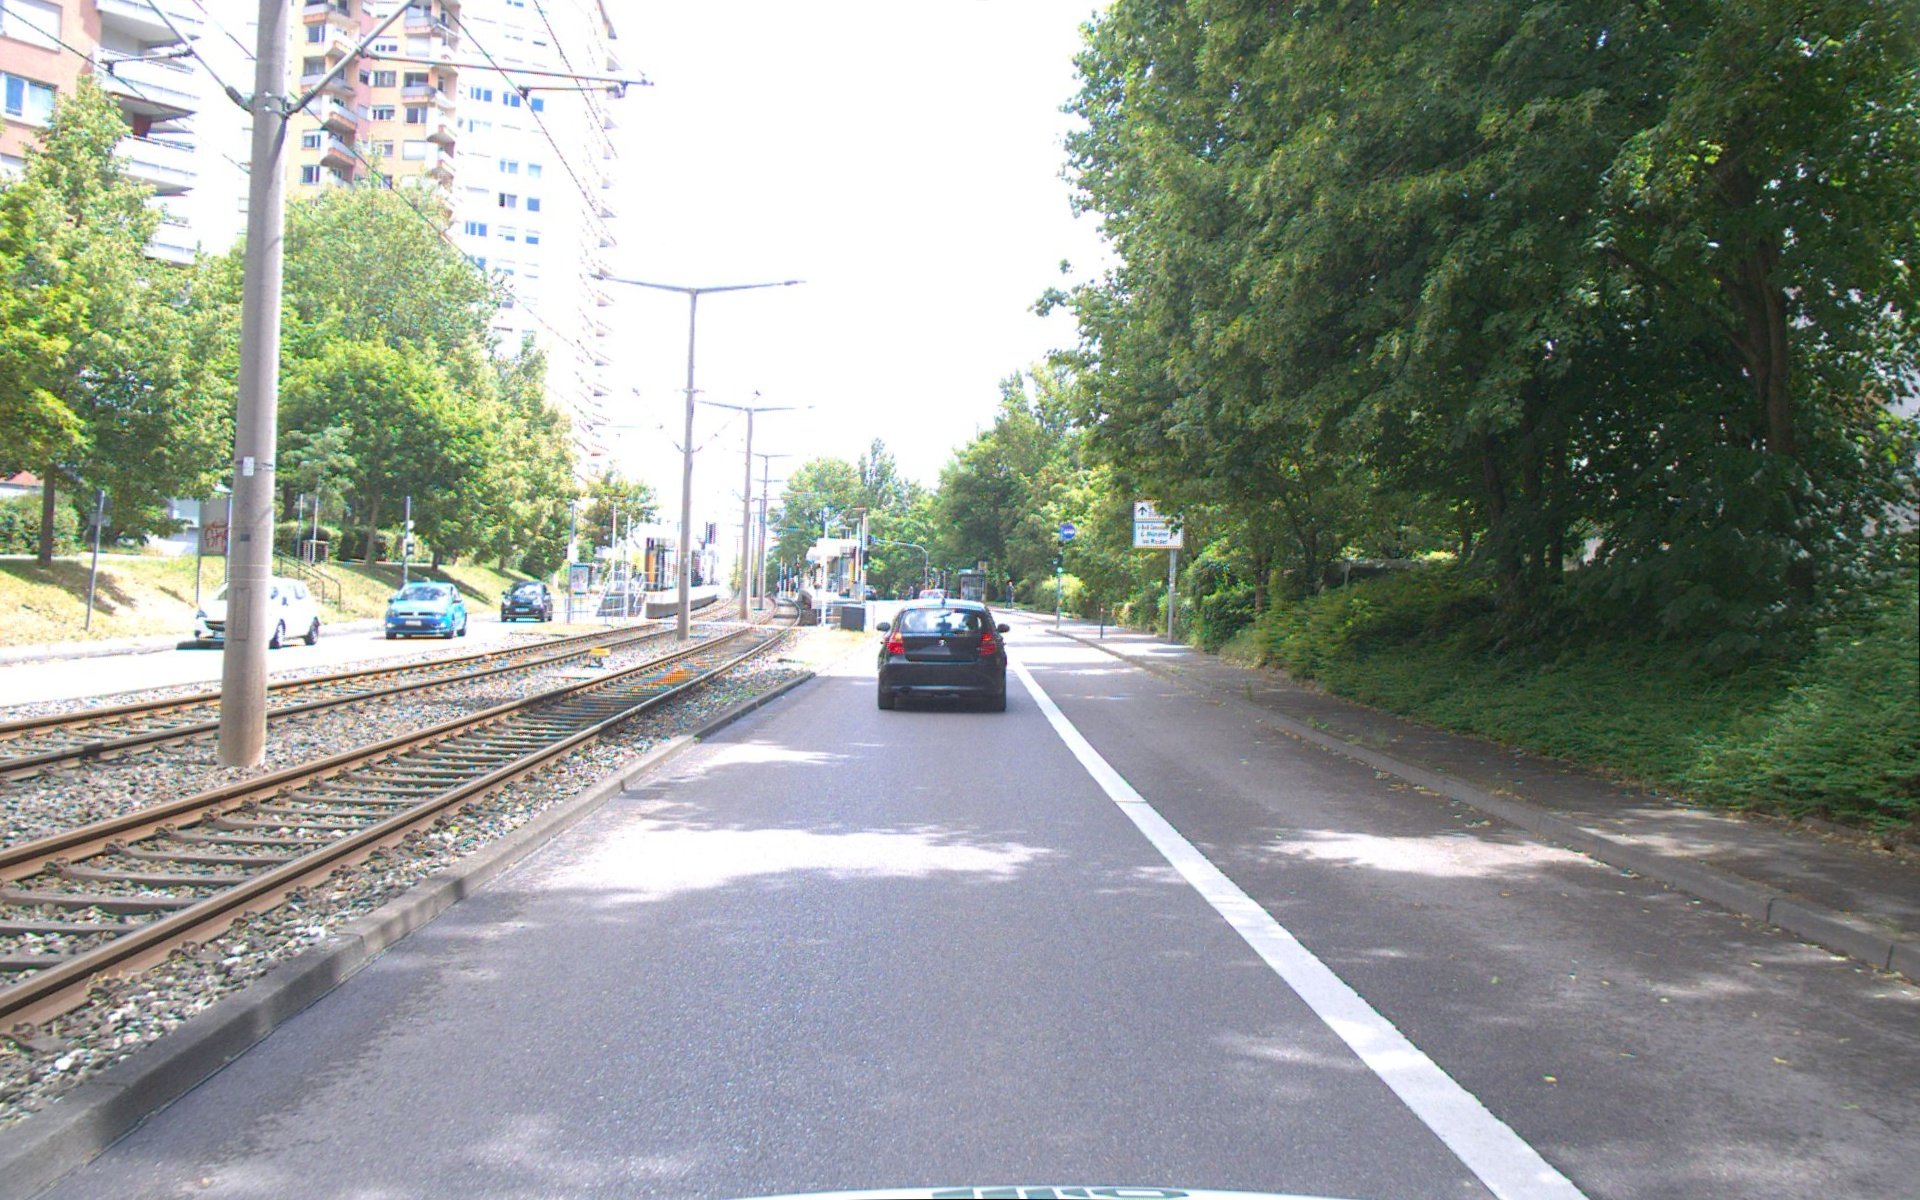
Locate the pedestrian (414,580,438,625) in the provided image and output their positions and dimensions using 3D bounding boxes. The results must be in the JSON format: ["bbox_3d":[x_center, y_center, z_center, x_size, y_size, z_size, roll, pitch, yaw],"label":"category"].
[{"bbox_3d":[-18.642,0.089,57.717,0.756,1.561,0.713,1,0,-20],"label":"pedestrian"}]

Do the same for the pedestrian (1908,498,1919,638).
[{"bbox_3d":[14.440,-0.464,24.081,0.742,2.049,0.881,1,0,-1],"label":"pedestrian"}]

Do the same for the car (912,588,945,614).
[{"bbox_3d":[-1.914,0.052,99.359,1.746,1.485,3.917,1,0,-4],"label":"car"}]

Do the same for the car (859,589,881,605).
[{"bbox_3d":[-8.555,-0.317,157.120,1.873,1.485,3.997,1,0,-6],"label":"car"}]

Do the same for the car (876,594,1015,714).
[{"bbox_3d":[-0.270,0.666,22.685,1.745,1.485,3.919,0,0,-3],"label":"car"}]

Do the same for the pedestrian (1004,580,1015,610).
[{"bbox_3d":[3.419,-0.322,114.818,0.725,2.049,0.681,1,0,0],"label":"pedestrian"}]

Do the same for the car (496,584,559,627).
[{"bbox_3d":[-16.767,0.197,64.256,1.682,1.591,3.694,1,0,-5],"label":"car"}]

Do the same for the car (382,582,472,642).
[{"bbox_3d":[-13.953,0.294,43.474,1.684,1.467,3.933,1,0,-10],"label":"car"}]

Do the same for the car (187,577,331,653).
[{"bbox_3d":[-15.224,0.302,36.144,1.747,1.559,4.239,0,0,-6],"label":"car"}]
